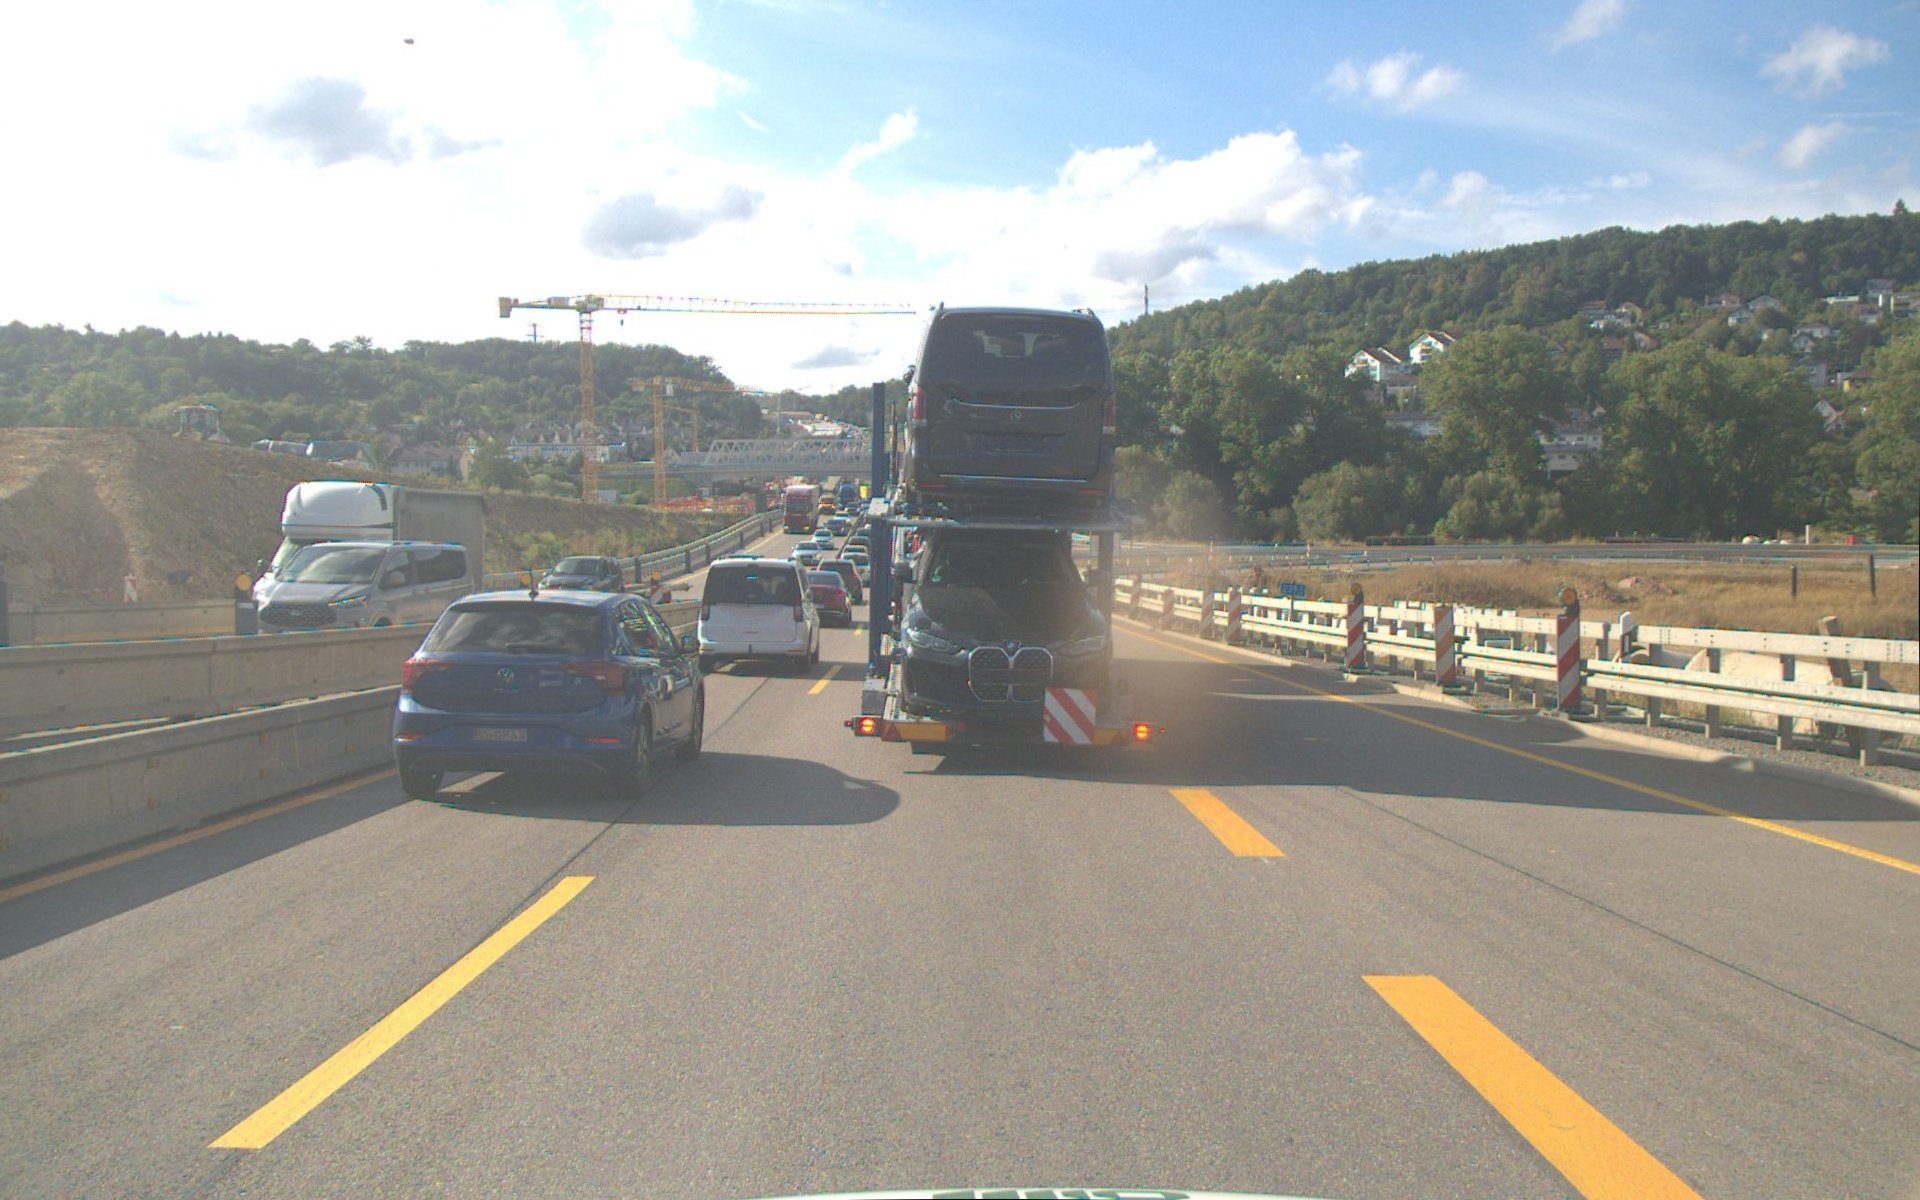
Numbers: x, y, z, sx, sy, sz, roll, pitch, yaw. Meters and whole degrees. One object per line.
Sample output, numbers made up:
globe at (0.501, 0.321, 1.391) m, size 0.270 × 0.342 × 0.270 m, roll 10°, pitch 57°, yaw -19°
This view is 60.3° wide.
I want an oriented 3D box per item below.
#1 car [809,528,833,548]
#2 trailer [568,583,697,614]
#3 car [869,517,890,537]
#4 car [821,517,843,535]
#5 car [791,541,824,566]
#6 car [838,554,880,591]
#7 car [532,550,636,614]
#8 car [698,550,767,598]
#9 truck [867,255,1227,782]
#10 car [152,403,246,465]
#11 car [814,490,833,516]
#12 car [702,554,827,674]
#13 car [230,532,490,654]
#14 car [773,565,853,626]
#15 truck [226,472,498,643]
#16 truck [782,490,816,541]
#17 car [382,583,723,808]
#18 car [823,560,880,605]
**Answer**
car at (-10.724, -4.767, 127.797) m, size 1.719 × 1.465 × 3.803 m, roll 1°, pitch 1°, yaw -3°
trailer at (-11.292, -0.063, 57.971) m, size 2.303 × 0.956 × 10.330 m, roll 1°, pitch 0°, yaw 1°
car at (-7.389, -6.611, 151.085) m, size 1.808 × 1.677 × 4.501 m, roll 1°, pitch 1°, yaw -4°
car at (-11.591, -6.708, 149.623) m, size 1.785 × 1.465 × 4.612 m, roll 1°, pitch 1°, yaw -2°
car at (-9.676, -2.935, 105.161) m, size 1.816 × 1.465 × 4.556 m, roll 2°, pitch 1°, yaw -3°
car at (-4.845, -1.356, 79.806) m, size 1.954 × 1.695 × 3.998 m, roll 1°, pitch 1°, yaw -3°
car at (-11.425, -0.504, 50.596) m, size 1.952 × 1.835 × 4.446 m, roll 1°, pitch 0°, yaw 3°
car at (-8.518, -0.984, 62.258) m, size 1.814 × 1.664 × 4.749 m, roll 2°, pitch 1°, yaw 1°
truck at (0.320, -0.785, 22.378) m, size 2.698 × 4.023 × 18.882 m, roll 2°, pitch 1°, yaw -2°
car at (-35.220, -7.639, 76.706) m, size 1.954 × 2.177 × 5.319 m, roll -4°, pitch 0°, yaw -2°
car at (-17.090, -12.191, 207.317) m, size 1.953 × 2.930 × 6.063 m, roll 1°, pitch 1°, yaw -1°
car at (-3.193, 0.230, 27.709) m, size 1.787 × 1.823 × 3.997 m, roll 1°, pitch 0°, yaw -3°
car at (-9.957, -0.141, 27.948) m, size 2.081 × 1.796 × 5.034 m, roll 2°, pitch 1°, yaw 6°
car at (-4.036, -0.106, 46.019) m, size 1.953 × 1.584 × 4.399 m, roll 1°, pitch 0°, yaw -2°
truck at (-12.981, -0.832, 36.750) m, size 2.643 × 3.369 × 7.541 m, roll 1°, pitch 0°, yaw 5°
truck at (-14.869, -7.823, 153.545) m, size 2.857 × 4.463 × 6.281 m, roll 2°, pitch 1°, yaw -4°
car at (-2.956, 0.629, 12.839) m, size 1.687 × 1.447 × 3.999 m, roll 1°, pitch 0°, yaw -1°
car at (-4.027, -0.640, 62.052) m, size 1.953 × 1.579 × 3.998 m, roll 1°, pitch 0°, yaw -2°
